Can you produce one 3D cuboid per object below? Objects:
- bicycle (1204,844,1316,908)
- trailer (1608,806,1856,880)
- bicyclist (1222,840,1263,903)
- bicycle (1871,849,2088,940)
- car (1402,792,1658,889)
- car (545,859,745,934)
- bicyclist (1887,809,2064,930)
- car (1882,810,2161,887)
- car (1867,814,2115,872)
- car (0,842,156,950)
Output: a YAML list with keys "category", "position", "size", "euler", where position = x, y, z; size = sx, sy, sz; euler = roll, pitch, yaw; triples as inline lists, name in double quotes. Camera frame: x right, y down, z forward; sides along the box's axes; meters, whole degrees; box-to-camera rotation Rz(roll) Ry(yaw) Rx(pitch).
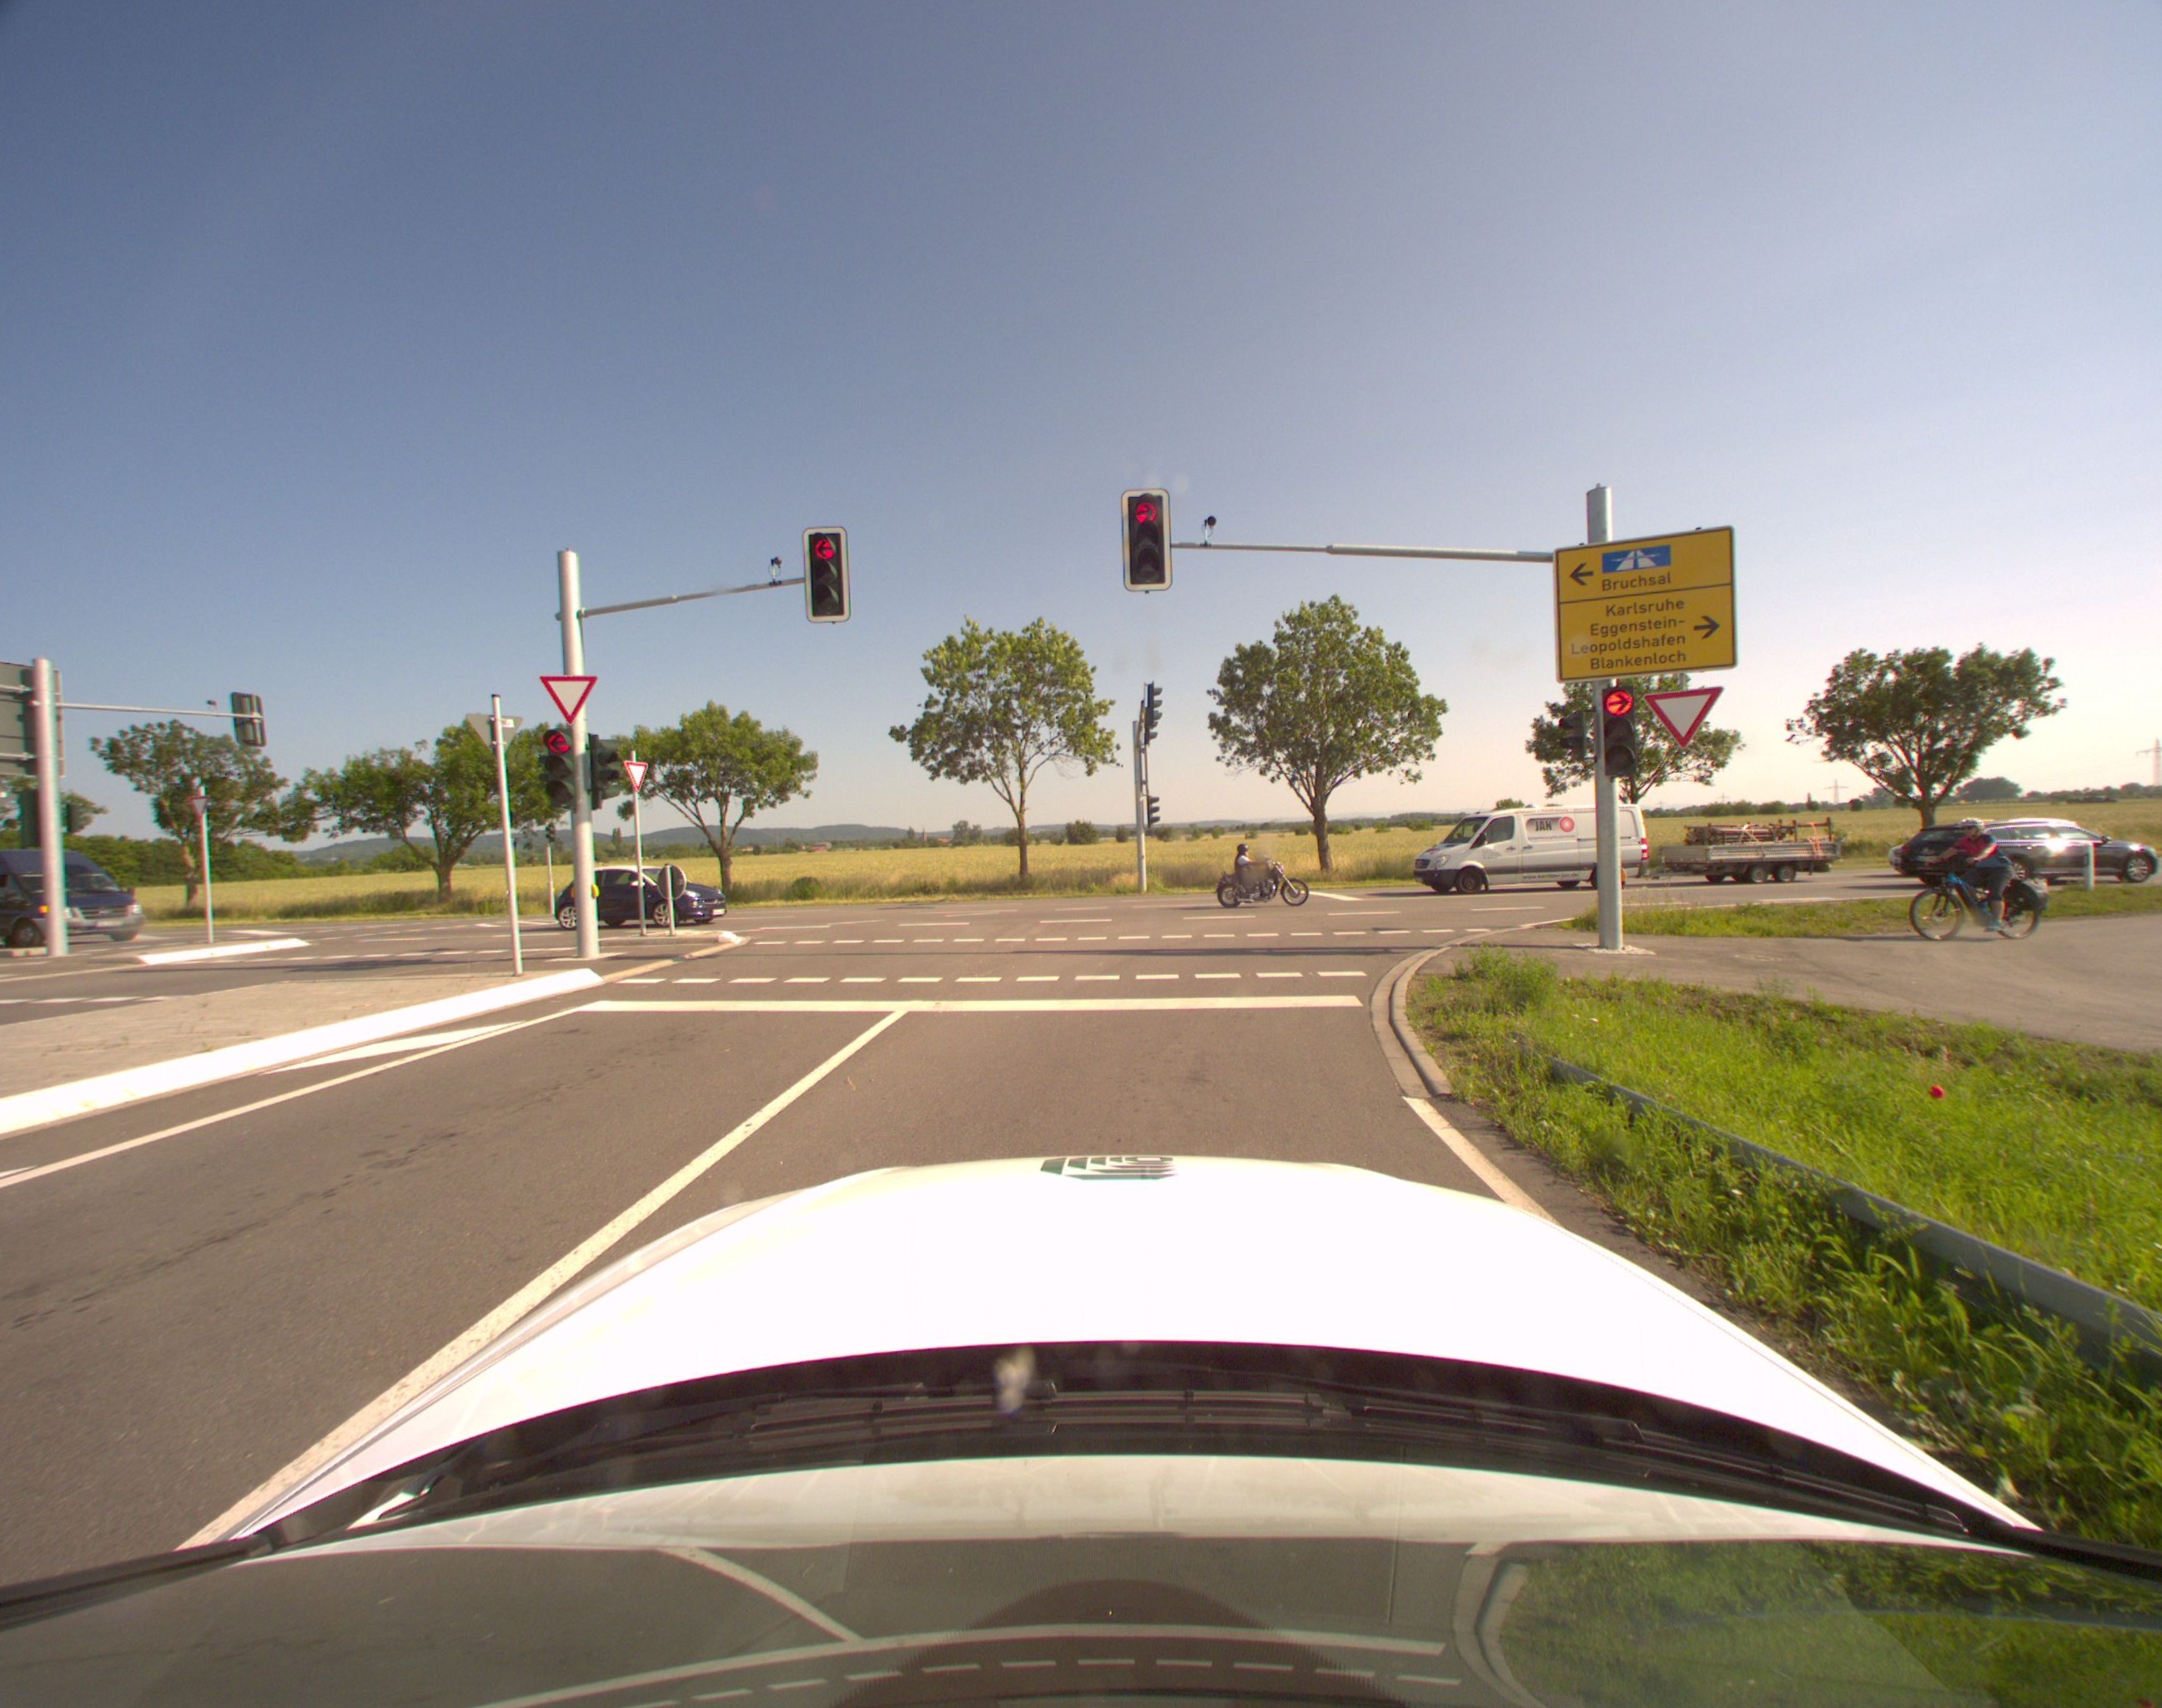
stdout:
- category: "bicycle"
  position: [4.281, 0.516, 19.581]
  size: [2.485, 1.397, 0.731]
  euler: [-3, 0, -3]
- category: "trailer"
  position: [17.802, -0.287, 22.458]
  size: [5.243, 1.753, 1.954]
  euler: [-2, 0, 0]
- category: "bicyclist"
  position: [3.872, 0.411, 19.574]
  size: [0.806, 1.489, 0.757]
  euler: [-1, -1, -2]
- category: "bicycle"
  position: [12.771, 0.550, 11.625]
  size: [2.150, 1.186, 0.889]
  euler: [-2, -1, -2]
- category: "car"
  position: [12.218, -0.358, 22.463]
  size: [5.936, 2.492, 2.000]
  euler: [-1, 0, 0]
- category: "car"
  position: [-10.216, 0.967, 19.254]
  size: [3.711, 1.457, 1.731]
  euler: [-3, 1, 4]
- category: "bicyclist"
  position: [12.693, 0.198, 11.613]
  size: [1.275, 1.601, 1.165]
  euler: [-2, 1, -2]
- category: "car"
  position: [21.624, -0.157, 18.765]
  size: [4.663, 1.518, 1.920]
  euler: [-2, 2, -4]
- category: "car"
  position: [25.191, -0.290, 22.670]
  size: [4.856, 1.510, 1.998]
  euler: [-1, 0, -3]
- category: "car"
  position: [-28.115, 1.112, 21.536]
  size: [5.696, 2.622, 2.039]
  euler: [-2, 0, 10]
